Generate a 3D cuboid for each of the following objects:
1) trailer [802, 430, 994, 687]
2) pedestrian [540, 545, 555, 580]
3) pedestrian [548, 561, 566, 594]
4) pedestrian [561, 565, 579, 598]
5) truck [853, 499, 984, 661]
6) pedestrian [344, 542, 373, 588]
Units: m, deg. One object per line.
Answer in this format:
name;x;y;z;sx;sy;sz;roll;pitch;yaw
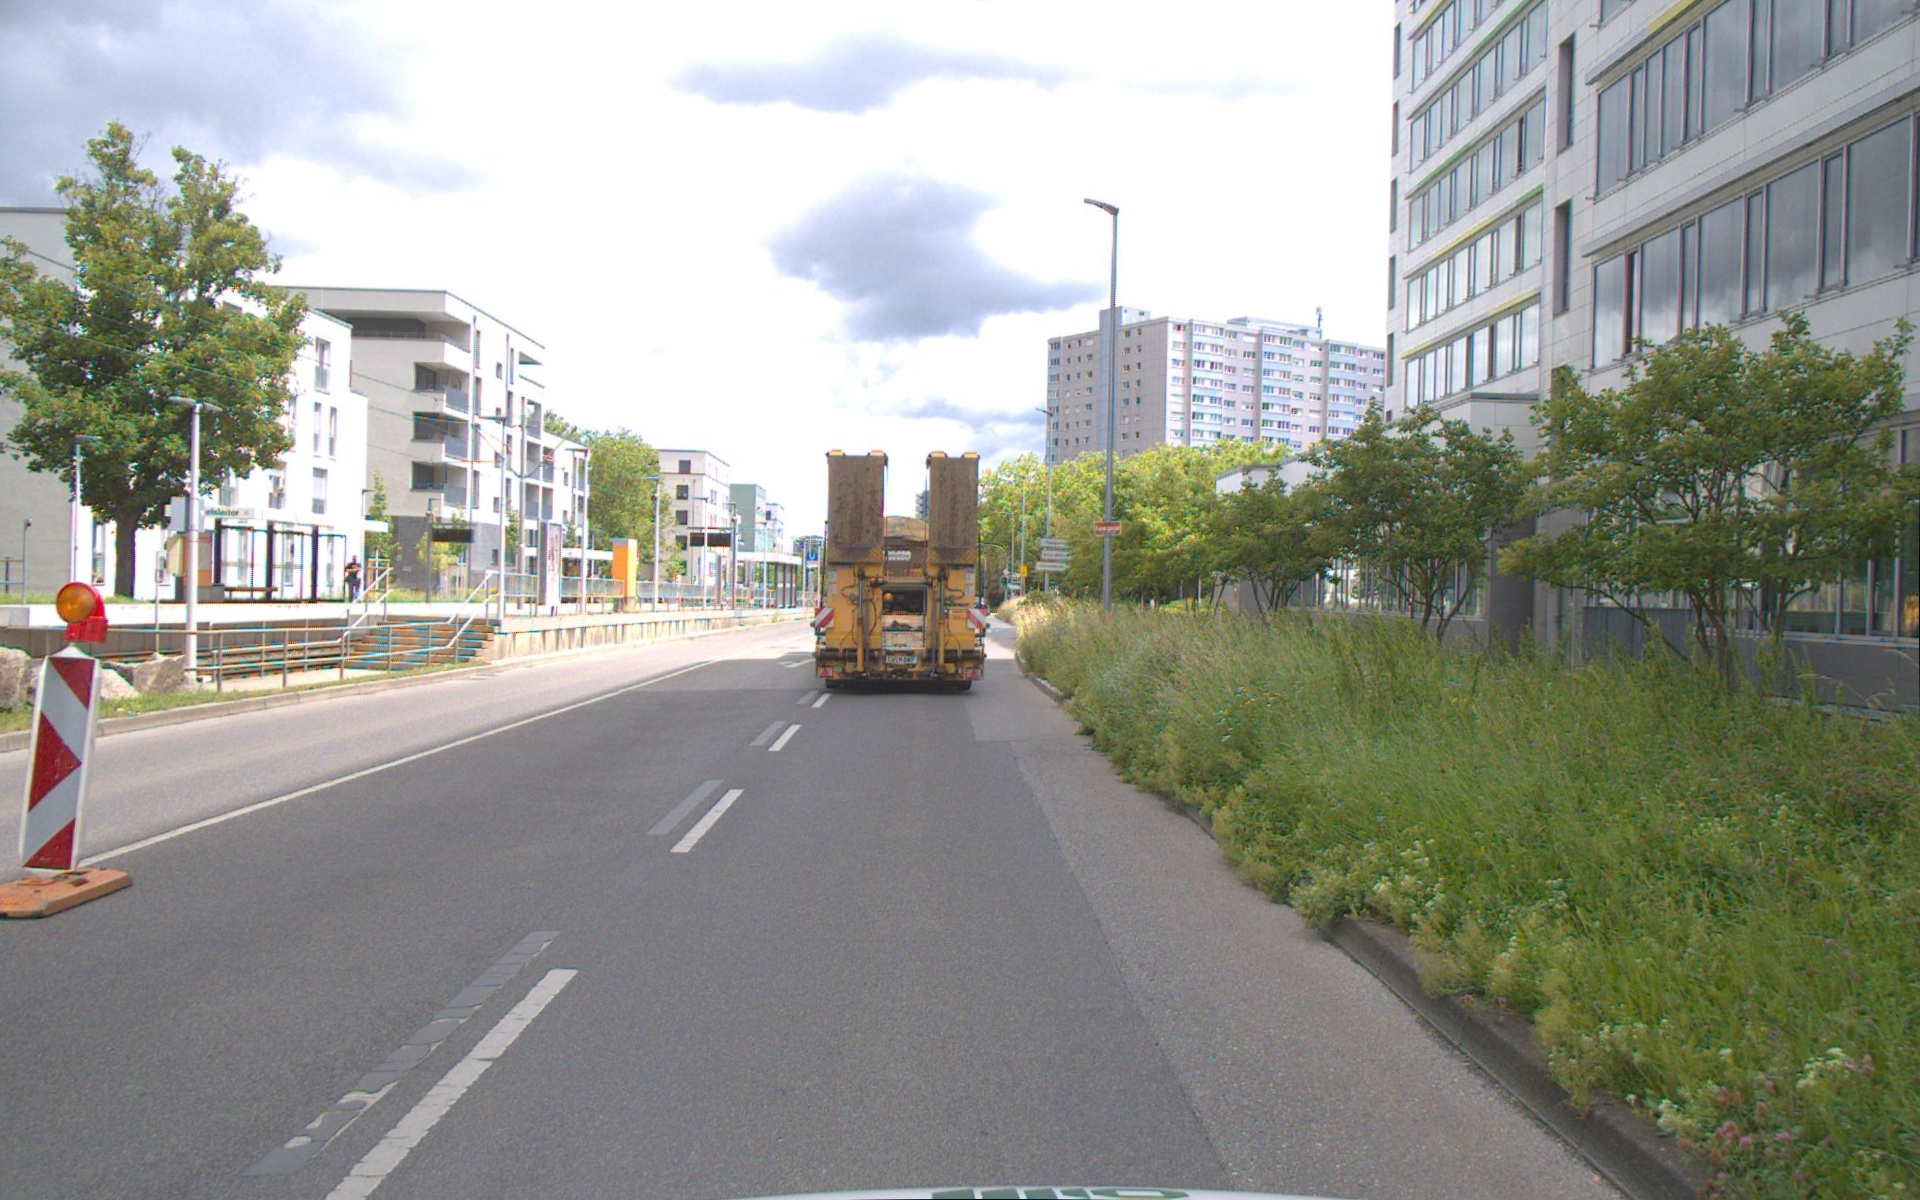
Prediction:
trailer;-0.893;-0.595;29.261;2.673;3.621;11.253;1;0;0
pedestrian;-20.632;-1.885;82.772;0.483;1.755;0.669;1;0;-34
pedestrian;-20.114;-1.123;82.539;0.480;1.624;0.673;1;0;43
pedestrian;-19.749;-0.946;83.759;0.479;1.624;0.675;1;0;34
truck;-0.891;-0.417;39.070;2.697;3.371;8.351;1;0;0
pedestrian;-20.401;-1.182;56.090;0.726;1.558;0.547;1;0;3
